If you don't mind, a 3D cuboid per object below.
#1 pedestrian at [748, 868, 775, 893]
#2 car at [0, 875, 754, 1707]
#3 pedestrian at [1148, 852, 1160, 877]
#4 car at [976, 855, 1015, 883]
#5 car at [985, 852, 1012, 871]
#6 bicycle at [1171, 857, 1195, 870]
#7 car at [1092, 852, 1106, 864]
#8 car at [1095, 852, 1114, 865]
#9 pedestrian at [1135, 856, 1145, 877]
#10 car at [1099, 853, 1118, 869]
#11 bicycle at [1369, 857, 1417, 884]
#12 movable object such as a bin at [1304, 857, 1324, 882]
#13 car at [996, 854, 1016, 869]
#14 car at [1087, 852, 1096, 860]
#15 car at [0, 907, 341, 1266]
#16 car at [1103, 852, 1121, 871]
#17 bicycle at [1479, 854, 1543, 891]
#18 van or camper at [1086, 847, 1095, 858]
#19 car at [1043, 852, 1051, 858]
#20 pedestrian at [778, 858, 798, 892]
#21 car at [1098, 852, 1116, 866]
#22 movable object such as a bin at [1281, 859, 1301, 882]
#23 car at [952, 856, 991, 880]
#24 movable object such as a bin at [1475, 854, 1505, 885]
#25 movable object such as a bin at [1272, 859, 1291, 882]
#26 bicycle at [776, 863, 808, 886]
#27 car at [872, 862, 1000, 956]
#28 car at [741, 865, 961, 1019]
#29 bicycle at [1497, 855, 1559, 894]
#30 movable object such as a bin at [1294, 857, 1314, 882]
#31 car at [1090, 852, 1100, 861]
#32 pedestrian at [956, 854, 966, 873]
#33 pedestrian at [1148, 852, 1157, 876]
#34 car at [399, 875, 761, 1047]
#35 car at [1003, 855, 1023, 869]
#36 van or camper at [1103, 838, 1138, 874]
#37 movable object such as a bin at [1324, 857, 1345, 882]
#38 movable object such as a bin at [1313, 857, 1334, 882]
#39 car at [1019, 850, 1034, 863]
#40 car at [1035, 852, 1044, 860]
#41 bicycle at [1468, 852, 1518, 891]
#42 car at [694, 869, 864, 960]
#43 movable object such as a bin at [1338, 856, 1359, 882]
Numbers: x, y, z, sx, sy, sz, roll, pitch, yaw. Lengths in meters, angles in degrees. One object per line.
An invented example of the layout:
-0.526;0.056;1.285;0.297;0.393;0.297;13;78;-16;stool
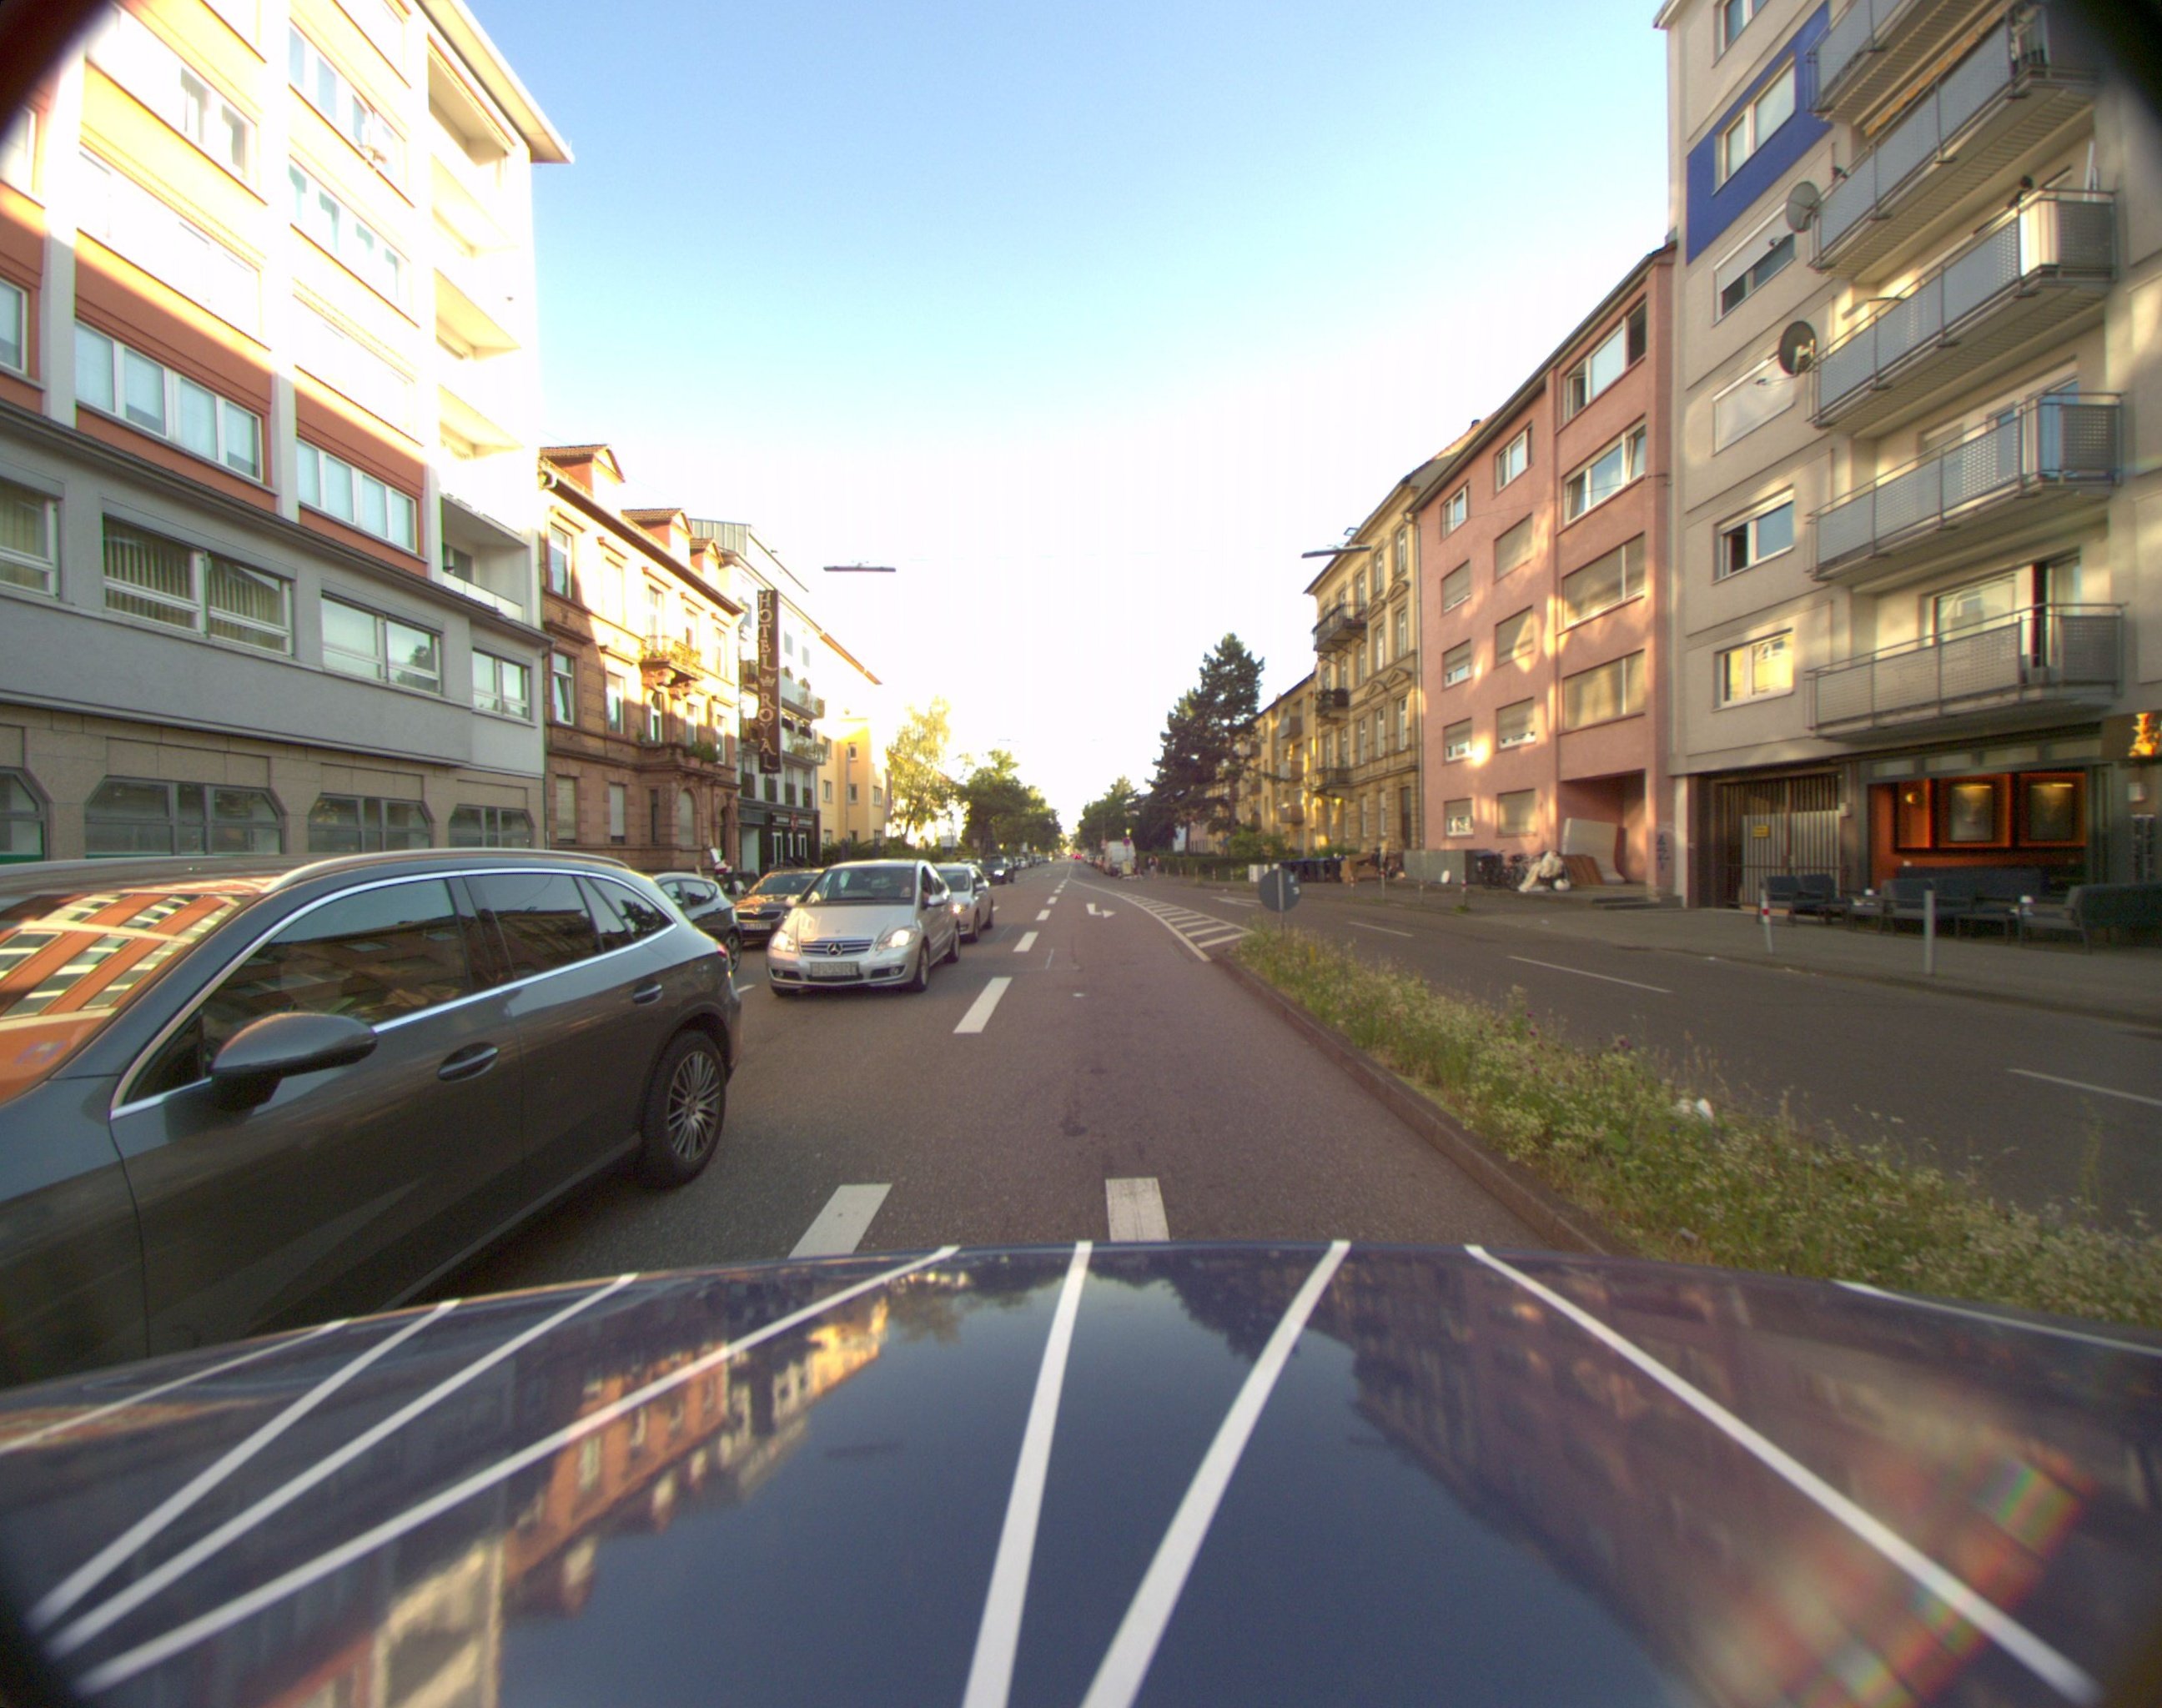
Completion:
-13.606;1.114;32.396;0.692;1.037;0.945;-1;1;3;pedestrian
-2.760;0.947;2.119;1.788;1.623;4.478;-1;0;-1;car
4.909;0.682;51.010;0.606;1.642;0.696;-1;1;-7;pedestrian
-5.017;0.842;45.090;1.999;1.525;3.999;-1;0;-2;car
-7.368;0.664;68.410;1.953;1.645;4.795;-1;0;-1;car
7.995;0.735;59.538;1.763;0.976;0.590;-2;1;1;bicycle
2.440;0.510;103.586;1.842;1.508;4.315;-2;0;0;car
2.809;0.543;91.188;1.999;1.439;4.457;-1;0;-1;car
4.045;0.861;52.112;0.560;1.370;0.480;-2;1;-6;pedestrian
2.701;0.665;75.003;1.721;1.443;3.922;-2;0;-1;car
12.928;0.678;31.535;1.653;0.961;0.662;-6;1;-2;bicycle
10.836;0.716;35.301;0.643;1.104;0.582;-4;2;-31;movable object such as a bin
-7.593;0.751;77.231;1.721;1.463;4.430;0;0;-2;car
2.085;0.356;155.967;1.808;1.489;3.956;-1;0;1;car
-5.614;1.115;3.258;1.493;1.497;3.478;-1;0;-1;car
2.695;0.633;65.819;1.407;1.539;2.761;-3;0;1;car
13.071;0.564;23.117;1.675;1.035;0.549;-2;1;-7;bicycle
2.124;-0.305;169.861;1.918;2.528;5.334;-1;0;0;van or camper
-8.108;0.264;182.870;1.798;1.558;3.672;0;0;0;car
-14.363;1.014;37.272;0.709;1.633;0.693;-1;0;-1;pedestrian
2.929;0.541;86.194;1.781;1.579;4.185;-2;0;0;car
10.077;0.783;36.447;0.643;1.062;0.626;-4;2;-31;movable object such as a bin
-7.511;0.908;52.385;1.860;1.503;4.834;1;0;1;car
13.750;0.511;25.573;0.676;1.026;0.589;-1;1;-1;movable object such as a bin
9.787;0.808;37.049;0.643;1.077;0.582;-4;2;-31;movable object such as a bin
-14.250;1.025;37.497;1.427;1.104;0.488;2;0;-18;bicycle
-2.731;0.974;15.272;1.712;1.501;4.308;-2;0;0;car
-2.739;0.963;9.928;1.808;1.559;3.618;-1;0;-1;car
13.115;0.590;22.289;1.676;1.035;0.549;-2;1;-15;bicycle
10.510;0.732;35.862;0.643;1.104;0.582;-4;2;-31;movable object such as a bin
2.459;0.446;131.907;1.684;1.434;3.881;-2;0;1;car
-10.400;0.796;65.994;0.748;1.606;0.579;-1;1;-2;pedestrian
4.877;0.679;51.921;0.481;1.642;0.725;-1;1;-7;pedestrian
-5.736;1.096;9.472;1.655;1.476;4.239;-2;0;0;car
-7.483;0.895;84.038;1.775;1.440;4.483;0;0;-1;car
3.095;0.133;60.868;2.041;2.648;6.013;-3;1;-3;van or camper
11.429;0.697;34.194;0.643;1.104;0.582;-4;2;-31;movable object such as a bin
11.049;0.701;34.667;0.643;1.104;0.582;-4;2;-31;movable object such as a bin
-7.527;0.305;105.206;1.921;1.672;4.706;1;0;-2;car
-8.258;0.408;152.059;1.798;1.577;3.998;0;0;-3;car
12.969;0.535;23.922;1.677;1.153;0.495;-3;1;-26;bicycle
-5.812;1.087;15.198;1.712;1.449;4.158;-1;0;0;car
11.855;0.675;33.682;0.643;1.104;0.582;-4;2;-31;movable object such as a bin
